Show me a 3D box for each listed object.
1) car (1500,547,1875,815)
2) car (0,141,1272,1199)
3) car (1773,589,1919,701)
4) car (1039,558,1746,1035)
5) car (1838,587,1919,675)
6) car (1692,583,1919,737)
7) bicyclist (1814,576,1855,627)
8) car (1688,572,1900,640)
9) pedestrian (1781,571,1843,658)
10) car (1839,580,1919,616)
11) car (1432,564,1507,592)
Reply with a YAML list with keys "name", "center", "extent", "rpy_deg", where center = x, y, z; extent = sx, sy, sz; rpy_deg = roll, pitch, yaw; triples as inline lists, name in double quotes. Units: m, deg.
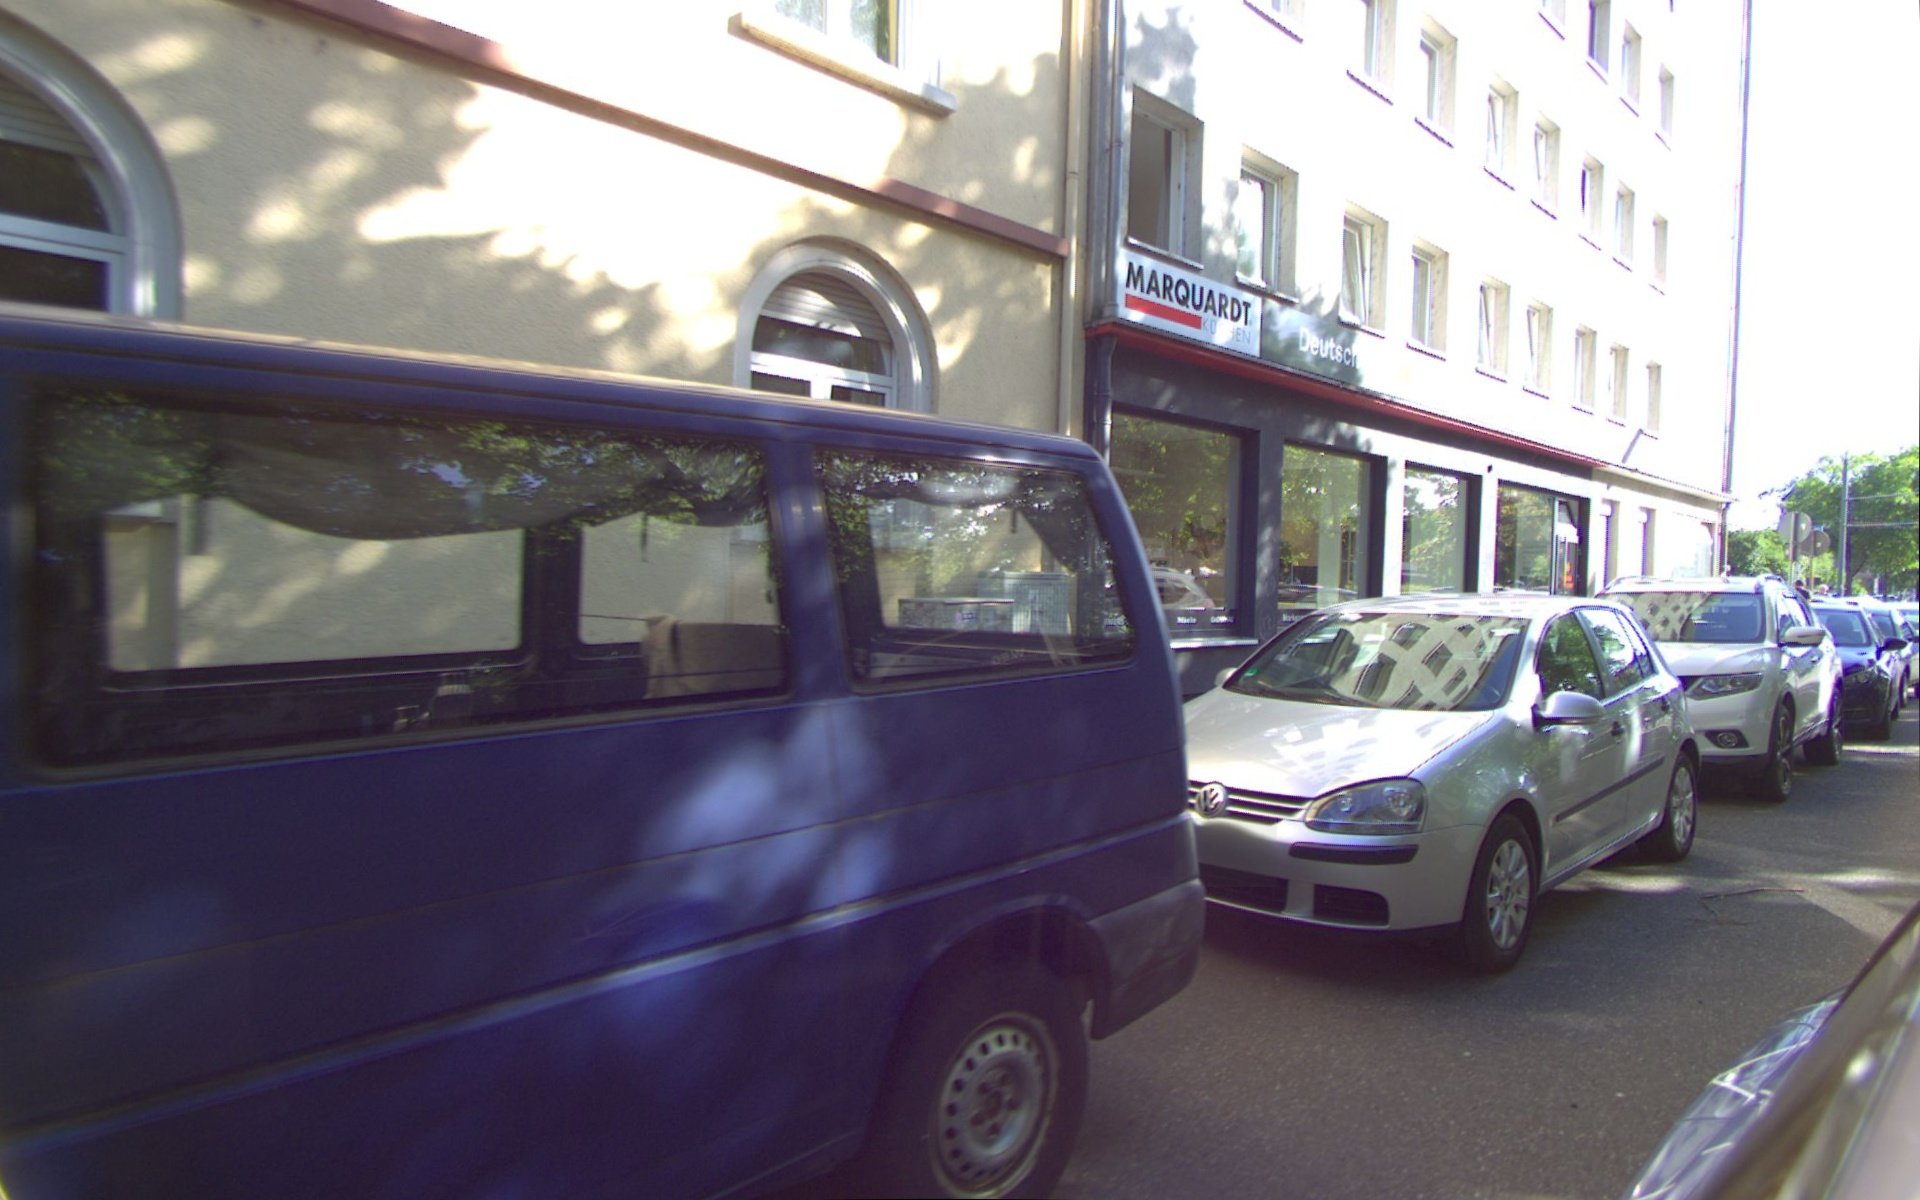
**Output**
- name: "car"
  center: [6.506, 0.491, 8.836]
  extent: [4.433, 1.775, 1.764]
  rpy_deg: [0, 2, -43]
- name: "car"
  center: [-1.599, 0.420, 1.964]
  extent: [4.760, 1.924, 1.953]
  rpy_deg: [0, 2, -41]
- name: "car"
  center: [13.932, 0.596, 15.519]
  extent: [3.607, 1.481, 1.600]
  rpy_deg: [0, 2, -40]
- name: "car"
  center: [2.504, 0.592, 5.286]
  extent: [4.165, 1.519, 1.765]
  rpy_deg: [0, 2, -42]
- name: "car"
  center: [18.359, 0.555, 19.355]
  extent: [3.951, 1.516, 1.723]
  rpy_deg: [0, 2, -40]
- name: "car"
  center: [10.377, 0.567, 12.236]
  extent: [1.803, 1.481, 4.369]
  rpy_deg: [3, 2, 44]
- name: "bicyclist"
  center: [27.937, 0.050, 32.337]
  extent: [0.820, 1.583, 0.590]
  rpy_deg: [2, 2, 28]
- name: "car"
  center: [24.741, 0.111, 30.245]
  extent: [1.835, 1.797, 4.494]
  rpy_deg: [1, 2, -25]
- name: "pedestrian"
  center: [17.728, 0.292, 21.059]
  extent: [0.731, 1.743, 0.762]
  rpy_deg: [1, 2, -35]
- name: "car"
  center: [43.184, -0.103, 47.355]
  extent: [4.941, 1.537, 1.924]
  rpy_deg: [0, 2, -35]
- name: "car"
  center: [29.373, -1.264, 58.303]
  extent: [4.397, 1.473, 1.875]
  rpy_deg: [0, 2, -33]
